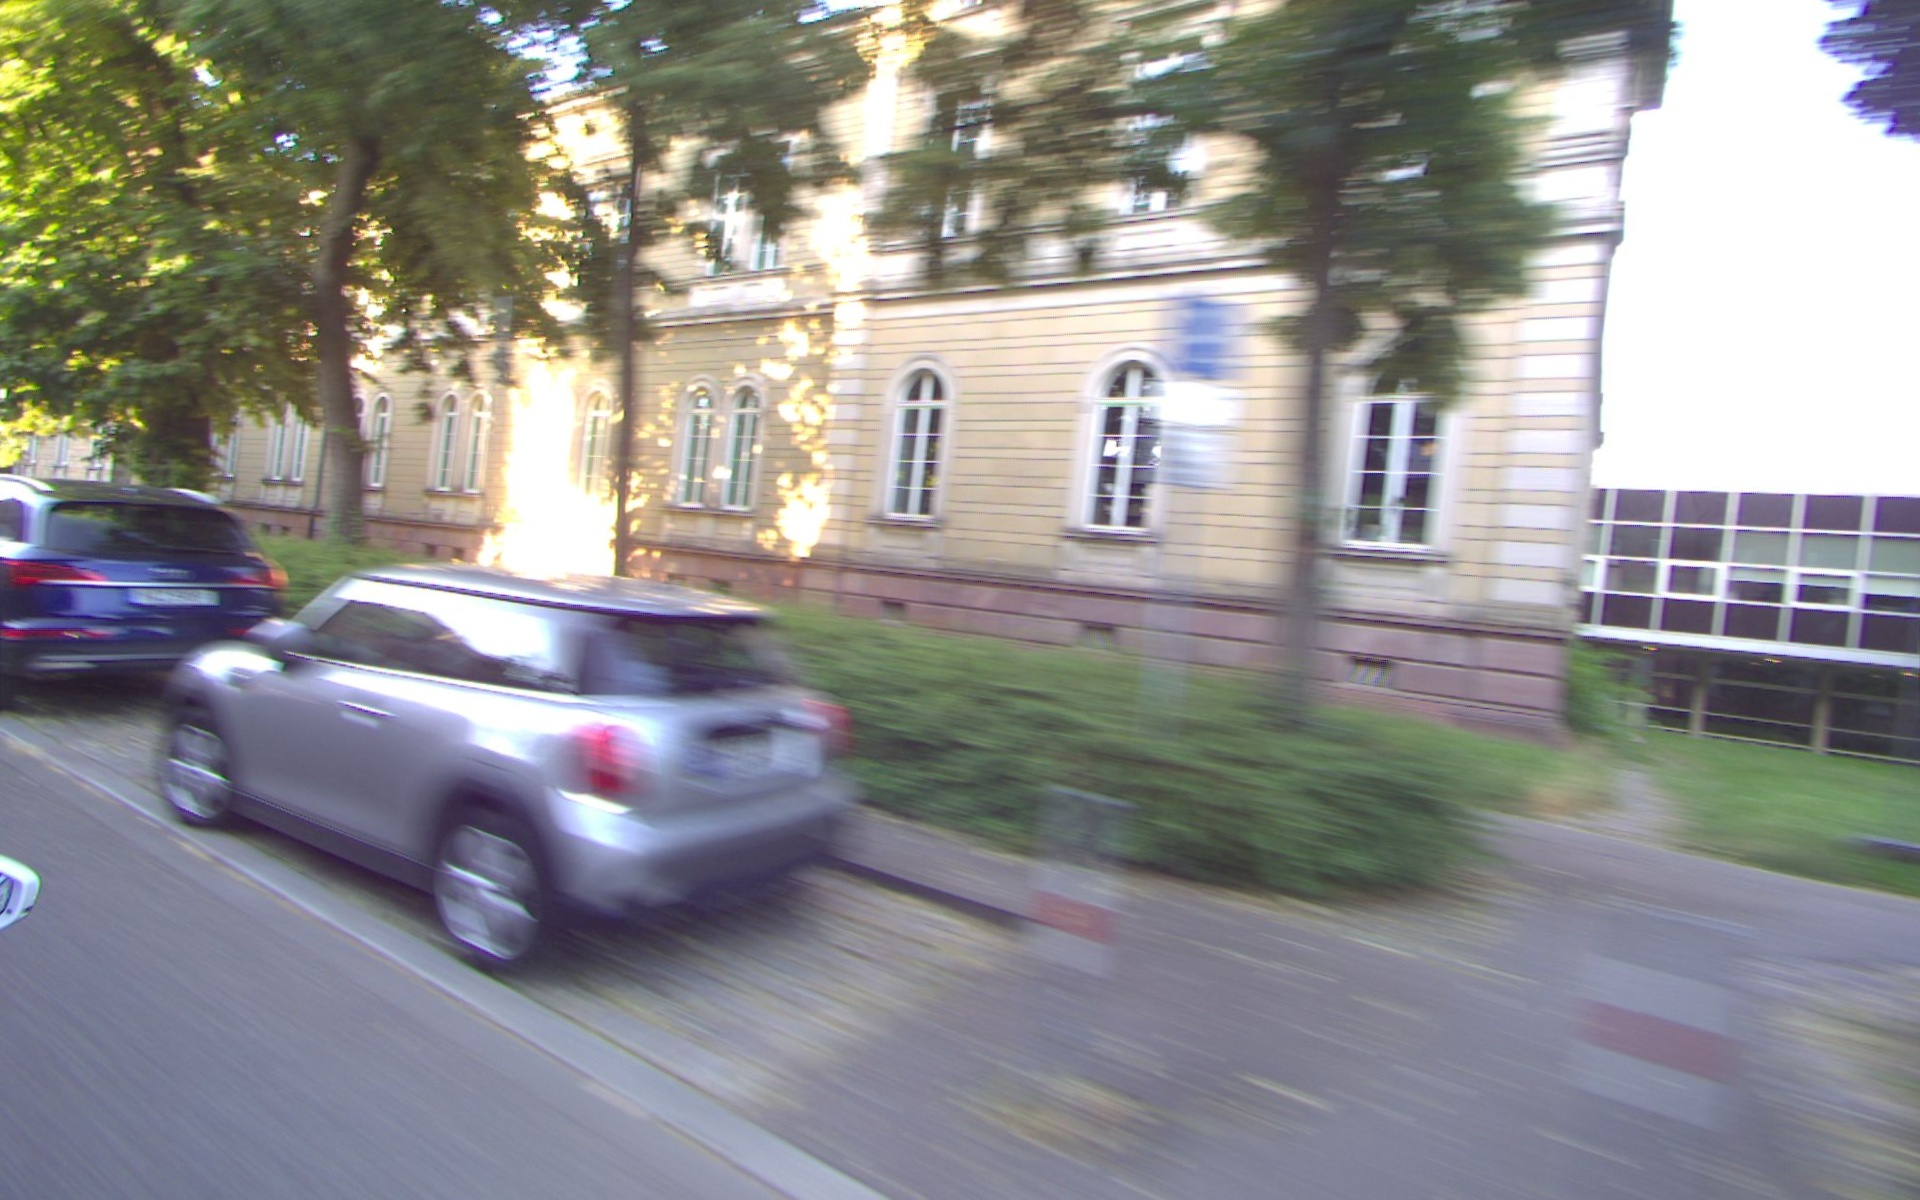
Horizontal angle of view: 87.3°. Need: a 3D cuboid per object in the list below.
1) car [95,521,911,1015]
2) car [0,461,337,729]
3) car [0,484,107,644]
[{"bbox_3d":[-2.404,0.519,5.016,3.934,1.456,1.726,5,0,32],"label":"car"},{"bbox_3d":[-7.419,-0.139,8.468,4.620,1.708,1.882,5,0,34],"label":"car"},{"bbox_3d":[-11.478,-0.532,11.284,3.904,1.608,1.726,5,0,32],"label":"car"}]
